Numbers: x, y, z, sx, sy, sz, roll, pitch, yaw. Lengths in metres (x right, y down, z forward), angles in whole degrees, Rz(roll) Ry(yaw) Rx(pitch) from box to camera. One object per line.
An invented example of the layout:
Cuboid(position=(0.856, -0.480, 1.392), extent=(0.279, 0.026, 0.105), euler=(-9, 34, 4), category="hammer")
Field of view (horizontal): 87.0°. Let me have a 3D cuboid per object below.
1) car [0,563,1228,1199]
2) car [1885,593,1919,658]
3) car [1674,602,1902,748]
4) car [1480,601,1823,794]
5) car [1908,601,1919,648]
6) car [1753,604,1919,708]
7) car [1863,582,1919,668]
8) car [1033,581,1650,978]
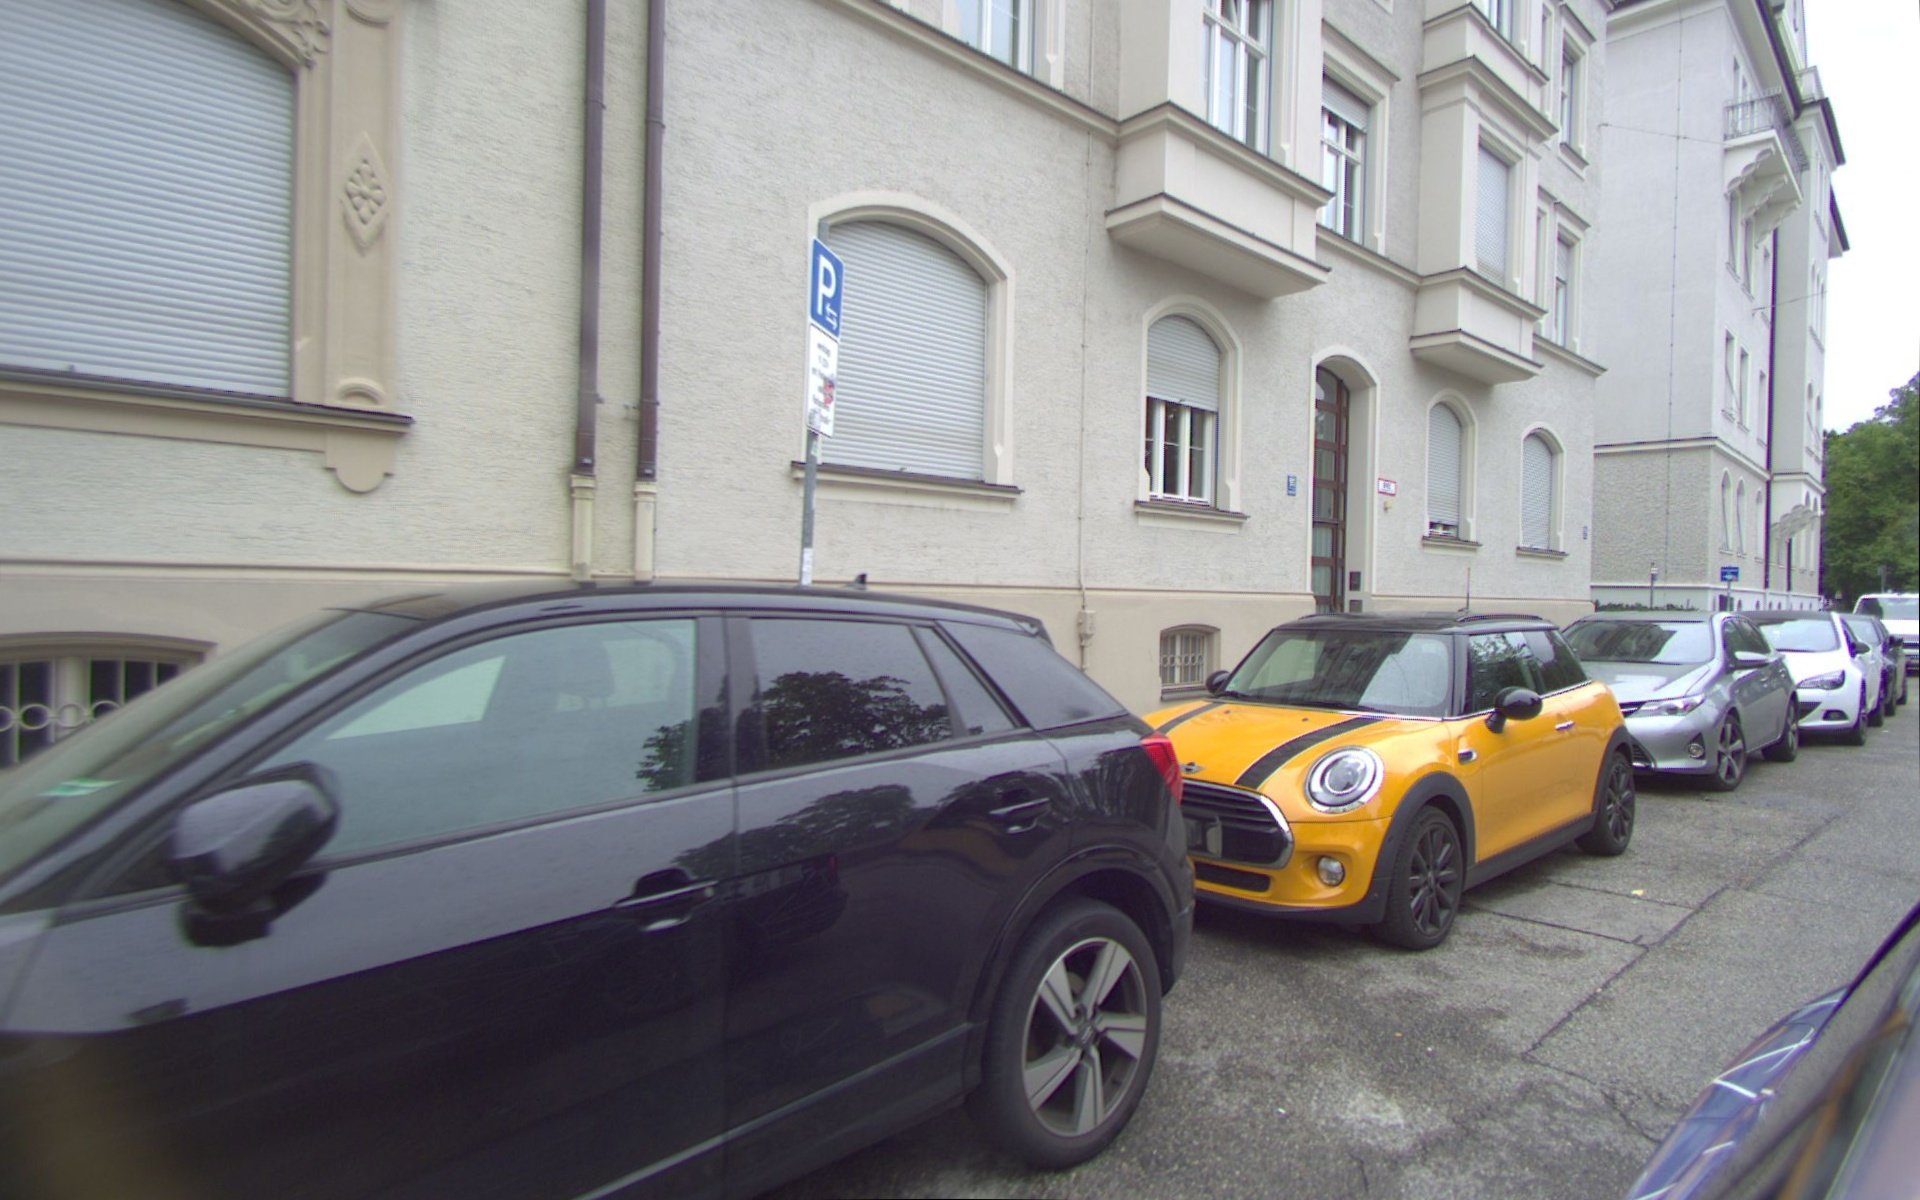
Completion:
Cuboid(position=(-1.269, 0.719, 2.282), extent=(3.888, 1.535, 1.746), euler=(1, 0, -41), category="car")
Cuboid(position=(28.251, 0.730, 29.417), extent=(4.018, 1.809, 1.790), euler=(1, 0, -44), category="car")
Cuboid(position=(10.223, 0.793, 12.386), extent=(4.017, 1.489, 1.712), euler=(1, -1, -44), category="car")
Cuboid(position=(6.536, 0.747, 9.401), extent=(3.930, 1.408, 1.713), euler=(1, -1, -41), category="car")
Cuboid(position=(35.649, 0.898, 36.597), extent=(4.017, 1.669, 1.791), euler=(1, -1, -44), category="car")
Cuboid(position=(13.829, 0.788, 15.824), extent=(4.017, 1.408, 1.712), euler=(1, -1, -44), category="car")
Cuboid(position=(23.297, 0.588, 24.539), extent=(4.017, 1.962, 1.791), euler=(1, -1, -44), category="car")
Cuboid(position=(2.259, 0.687, 5.587), extent=(3.533, 1.458, 1.660), euler=(1, 1, -40), category="car")
